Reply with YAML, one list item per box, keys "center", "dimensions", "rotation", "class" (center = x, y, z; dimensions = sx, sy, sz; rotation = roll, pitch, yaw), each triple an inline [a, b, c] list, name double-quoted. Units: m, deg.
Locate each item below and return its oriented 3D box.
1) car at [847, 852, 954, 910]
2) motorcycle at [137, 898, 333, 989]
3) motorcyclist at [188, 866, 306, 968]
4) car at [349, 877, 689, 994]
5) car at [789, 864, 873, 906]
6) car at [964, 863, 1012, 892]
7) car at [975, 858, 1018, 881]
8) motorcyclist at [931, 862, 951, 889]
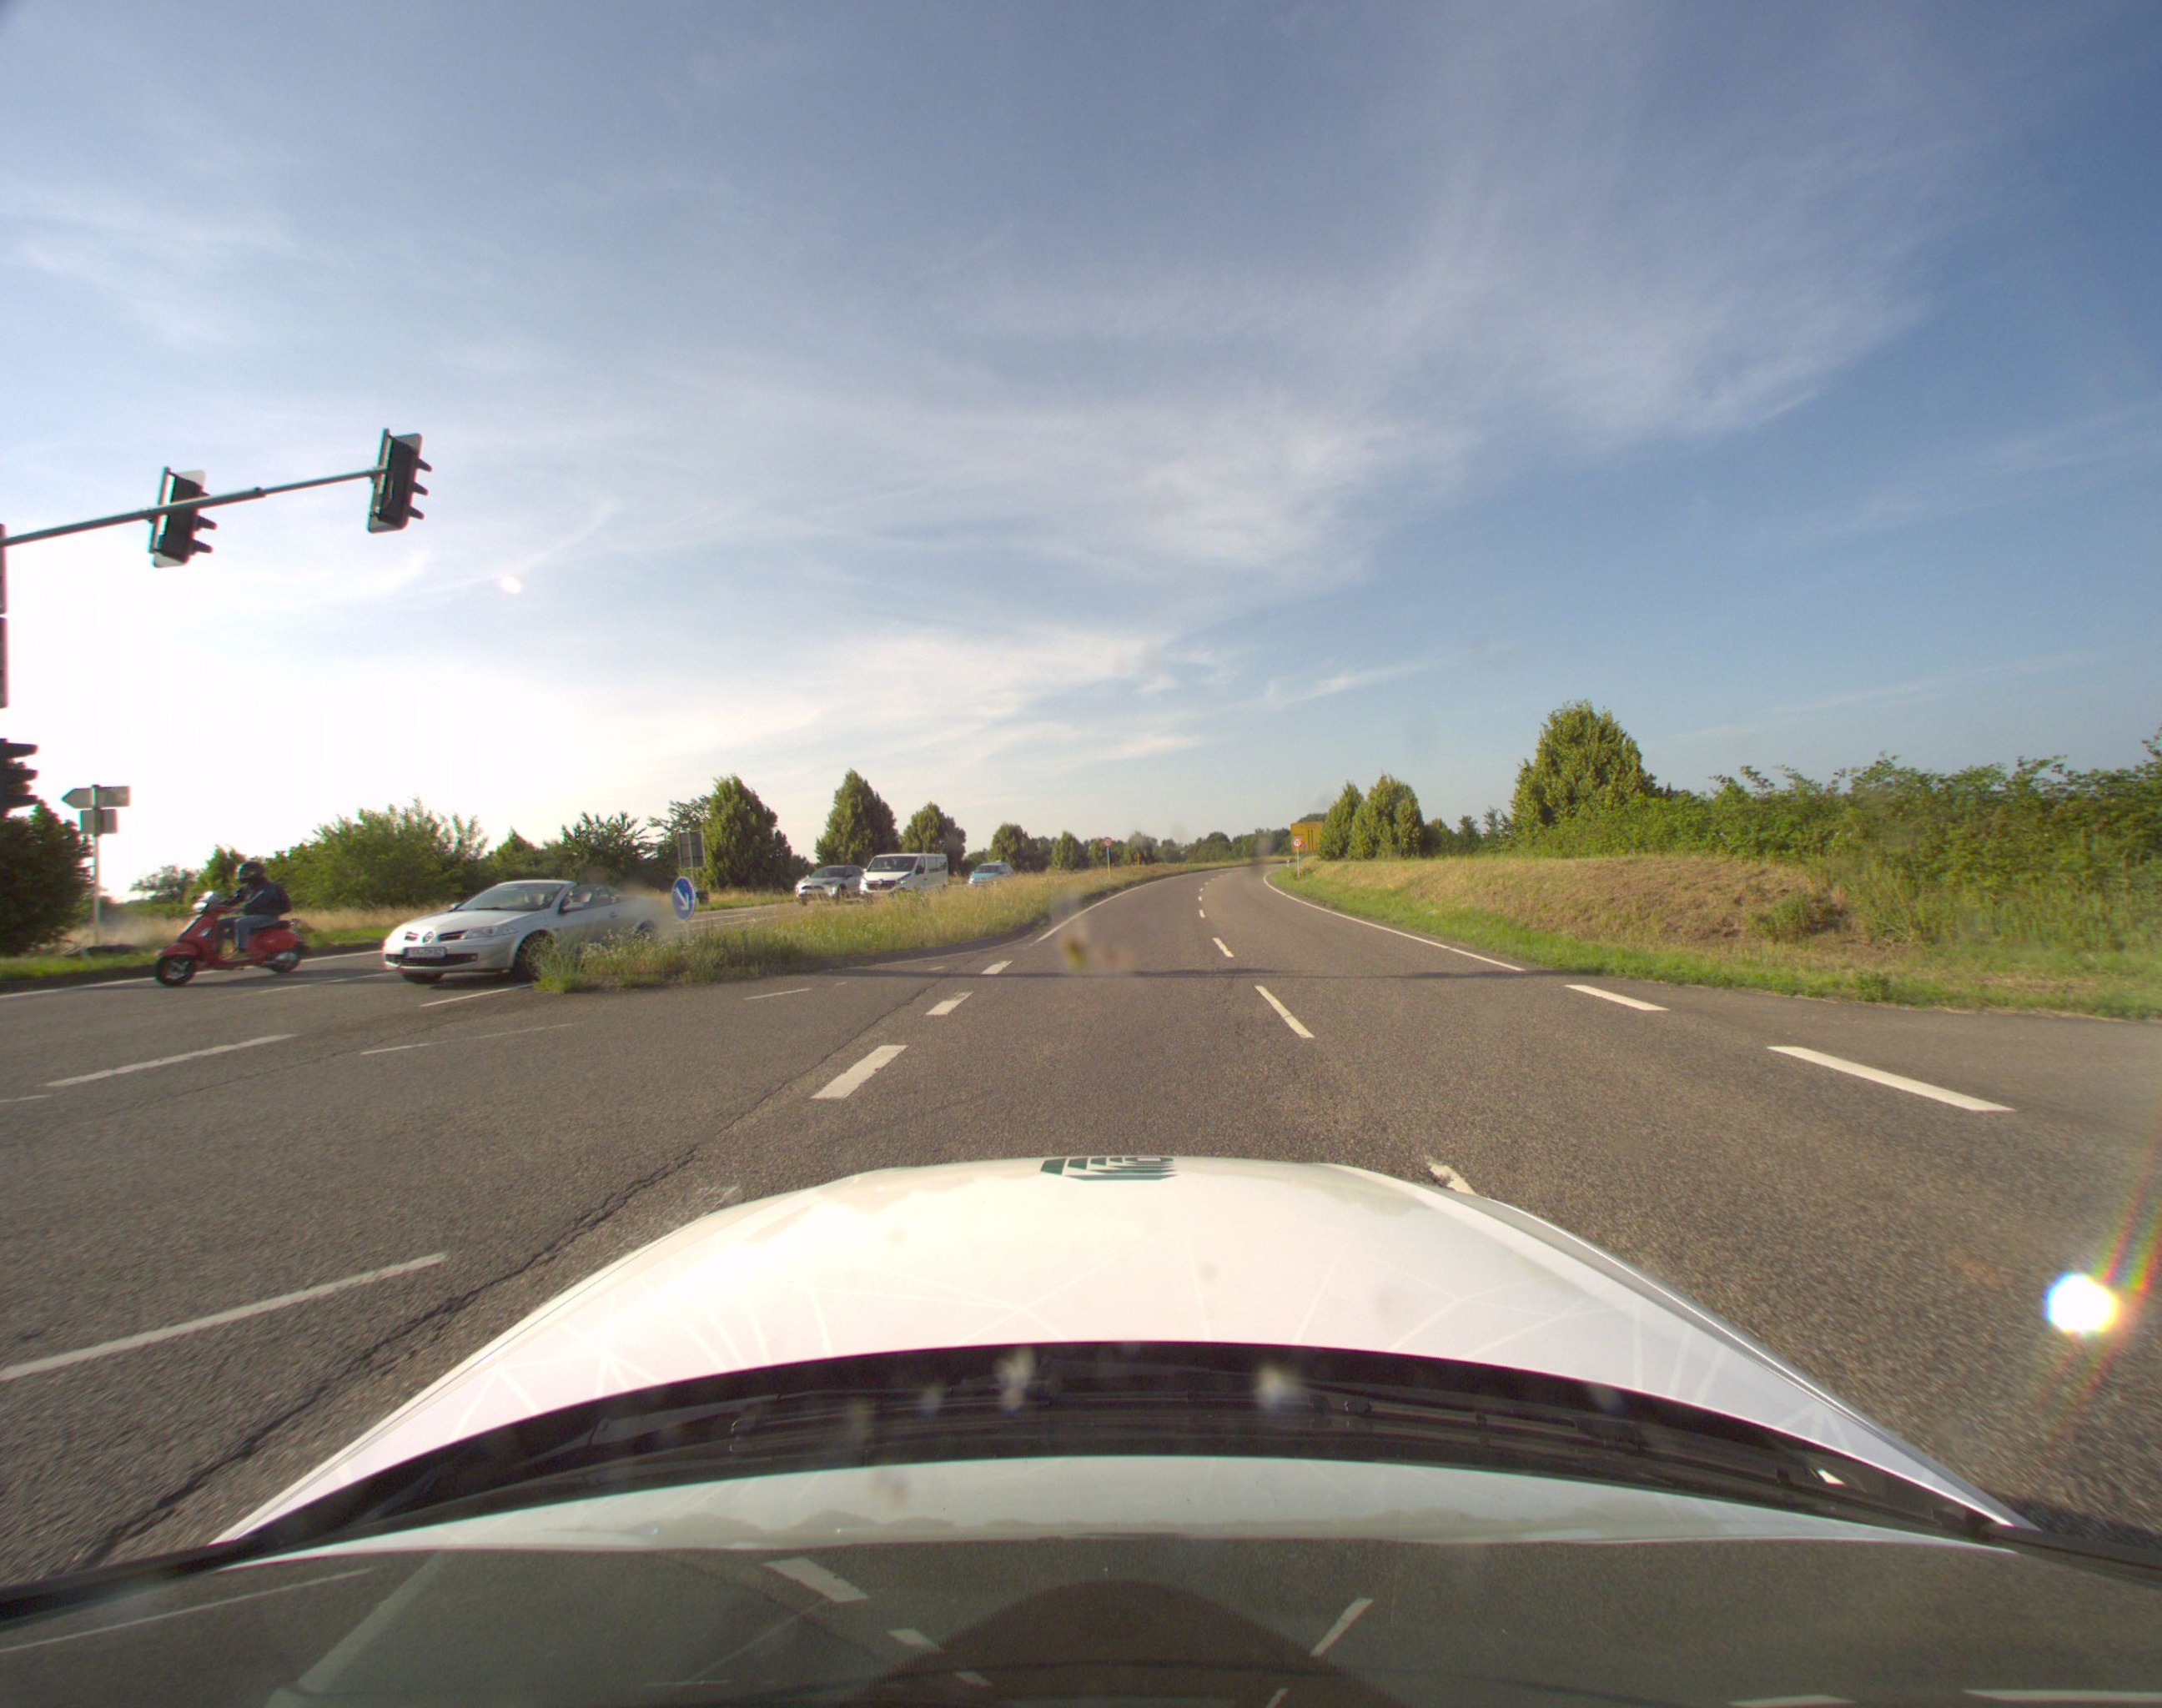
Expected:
- center: [-6.562, 0.933, 30.401]
  dimensions: [1.983, 1.904, 5.800]
  rotation: [-2, -1, 7]
  class: "car"
- center: [-12.726, 1.306, 12.363]
  dimensions: [0.704, 1.158, 2.027]
  rotation: [-2, -1, 7]
  class: "motorcycle"
- center: [-12.730, 0.931, 12.459]
  dimensions: [0.701, 1.465, 1.022]
  rotation: [-2, -1, 7]
  class: "motorcyclist"
- center: [-8.167, 1.093, 12.467]
  dimensions: [1.685, 1.353, 4.462]
  rotation: [-2, -1, 7]
  class: "car"
- center: [-10.040, 1.204, 33.026]
  dimensions: [1.697, 1.525, 4.142]
  rotation: [-2, -1, 6]
  class: "car"
- center: [-4.908, 1.241, 43.545]
  dimensions: [1.669, 1.443, 3.759]
  rotation: [-2, -1, 7]
  class: "car"
- center: [-6.083, 1.124, 59.216]
  dimensions: [1.901, 1.565, 4.623]
  rotation: [-2, -1, 10]
  class: "car"
- center: [-8.399, 1.297, 49.010]
  dimensions: [0.747, 1.604, 1.253]
  rotation: [-2, -1, 11]
  class: "motorcyclist"
